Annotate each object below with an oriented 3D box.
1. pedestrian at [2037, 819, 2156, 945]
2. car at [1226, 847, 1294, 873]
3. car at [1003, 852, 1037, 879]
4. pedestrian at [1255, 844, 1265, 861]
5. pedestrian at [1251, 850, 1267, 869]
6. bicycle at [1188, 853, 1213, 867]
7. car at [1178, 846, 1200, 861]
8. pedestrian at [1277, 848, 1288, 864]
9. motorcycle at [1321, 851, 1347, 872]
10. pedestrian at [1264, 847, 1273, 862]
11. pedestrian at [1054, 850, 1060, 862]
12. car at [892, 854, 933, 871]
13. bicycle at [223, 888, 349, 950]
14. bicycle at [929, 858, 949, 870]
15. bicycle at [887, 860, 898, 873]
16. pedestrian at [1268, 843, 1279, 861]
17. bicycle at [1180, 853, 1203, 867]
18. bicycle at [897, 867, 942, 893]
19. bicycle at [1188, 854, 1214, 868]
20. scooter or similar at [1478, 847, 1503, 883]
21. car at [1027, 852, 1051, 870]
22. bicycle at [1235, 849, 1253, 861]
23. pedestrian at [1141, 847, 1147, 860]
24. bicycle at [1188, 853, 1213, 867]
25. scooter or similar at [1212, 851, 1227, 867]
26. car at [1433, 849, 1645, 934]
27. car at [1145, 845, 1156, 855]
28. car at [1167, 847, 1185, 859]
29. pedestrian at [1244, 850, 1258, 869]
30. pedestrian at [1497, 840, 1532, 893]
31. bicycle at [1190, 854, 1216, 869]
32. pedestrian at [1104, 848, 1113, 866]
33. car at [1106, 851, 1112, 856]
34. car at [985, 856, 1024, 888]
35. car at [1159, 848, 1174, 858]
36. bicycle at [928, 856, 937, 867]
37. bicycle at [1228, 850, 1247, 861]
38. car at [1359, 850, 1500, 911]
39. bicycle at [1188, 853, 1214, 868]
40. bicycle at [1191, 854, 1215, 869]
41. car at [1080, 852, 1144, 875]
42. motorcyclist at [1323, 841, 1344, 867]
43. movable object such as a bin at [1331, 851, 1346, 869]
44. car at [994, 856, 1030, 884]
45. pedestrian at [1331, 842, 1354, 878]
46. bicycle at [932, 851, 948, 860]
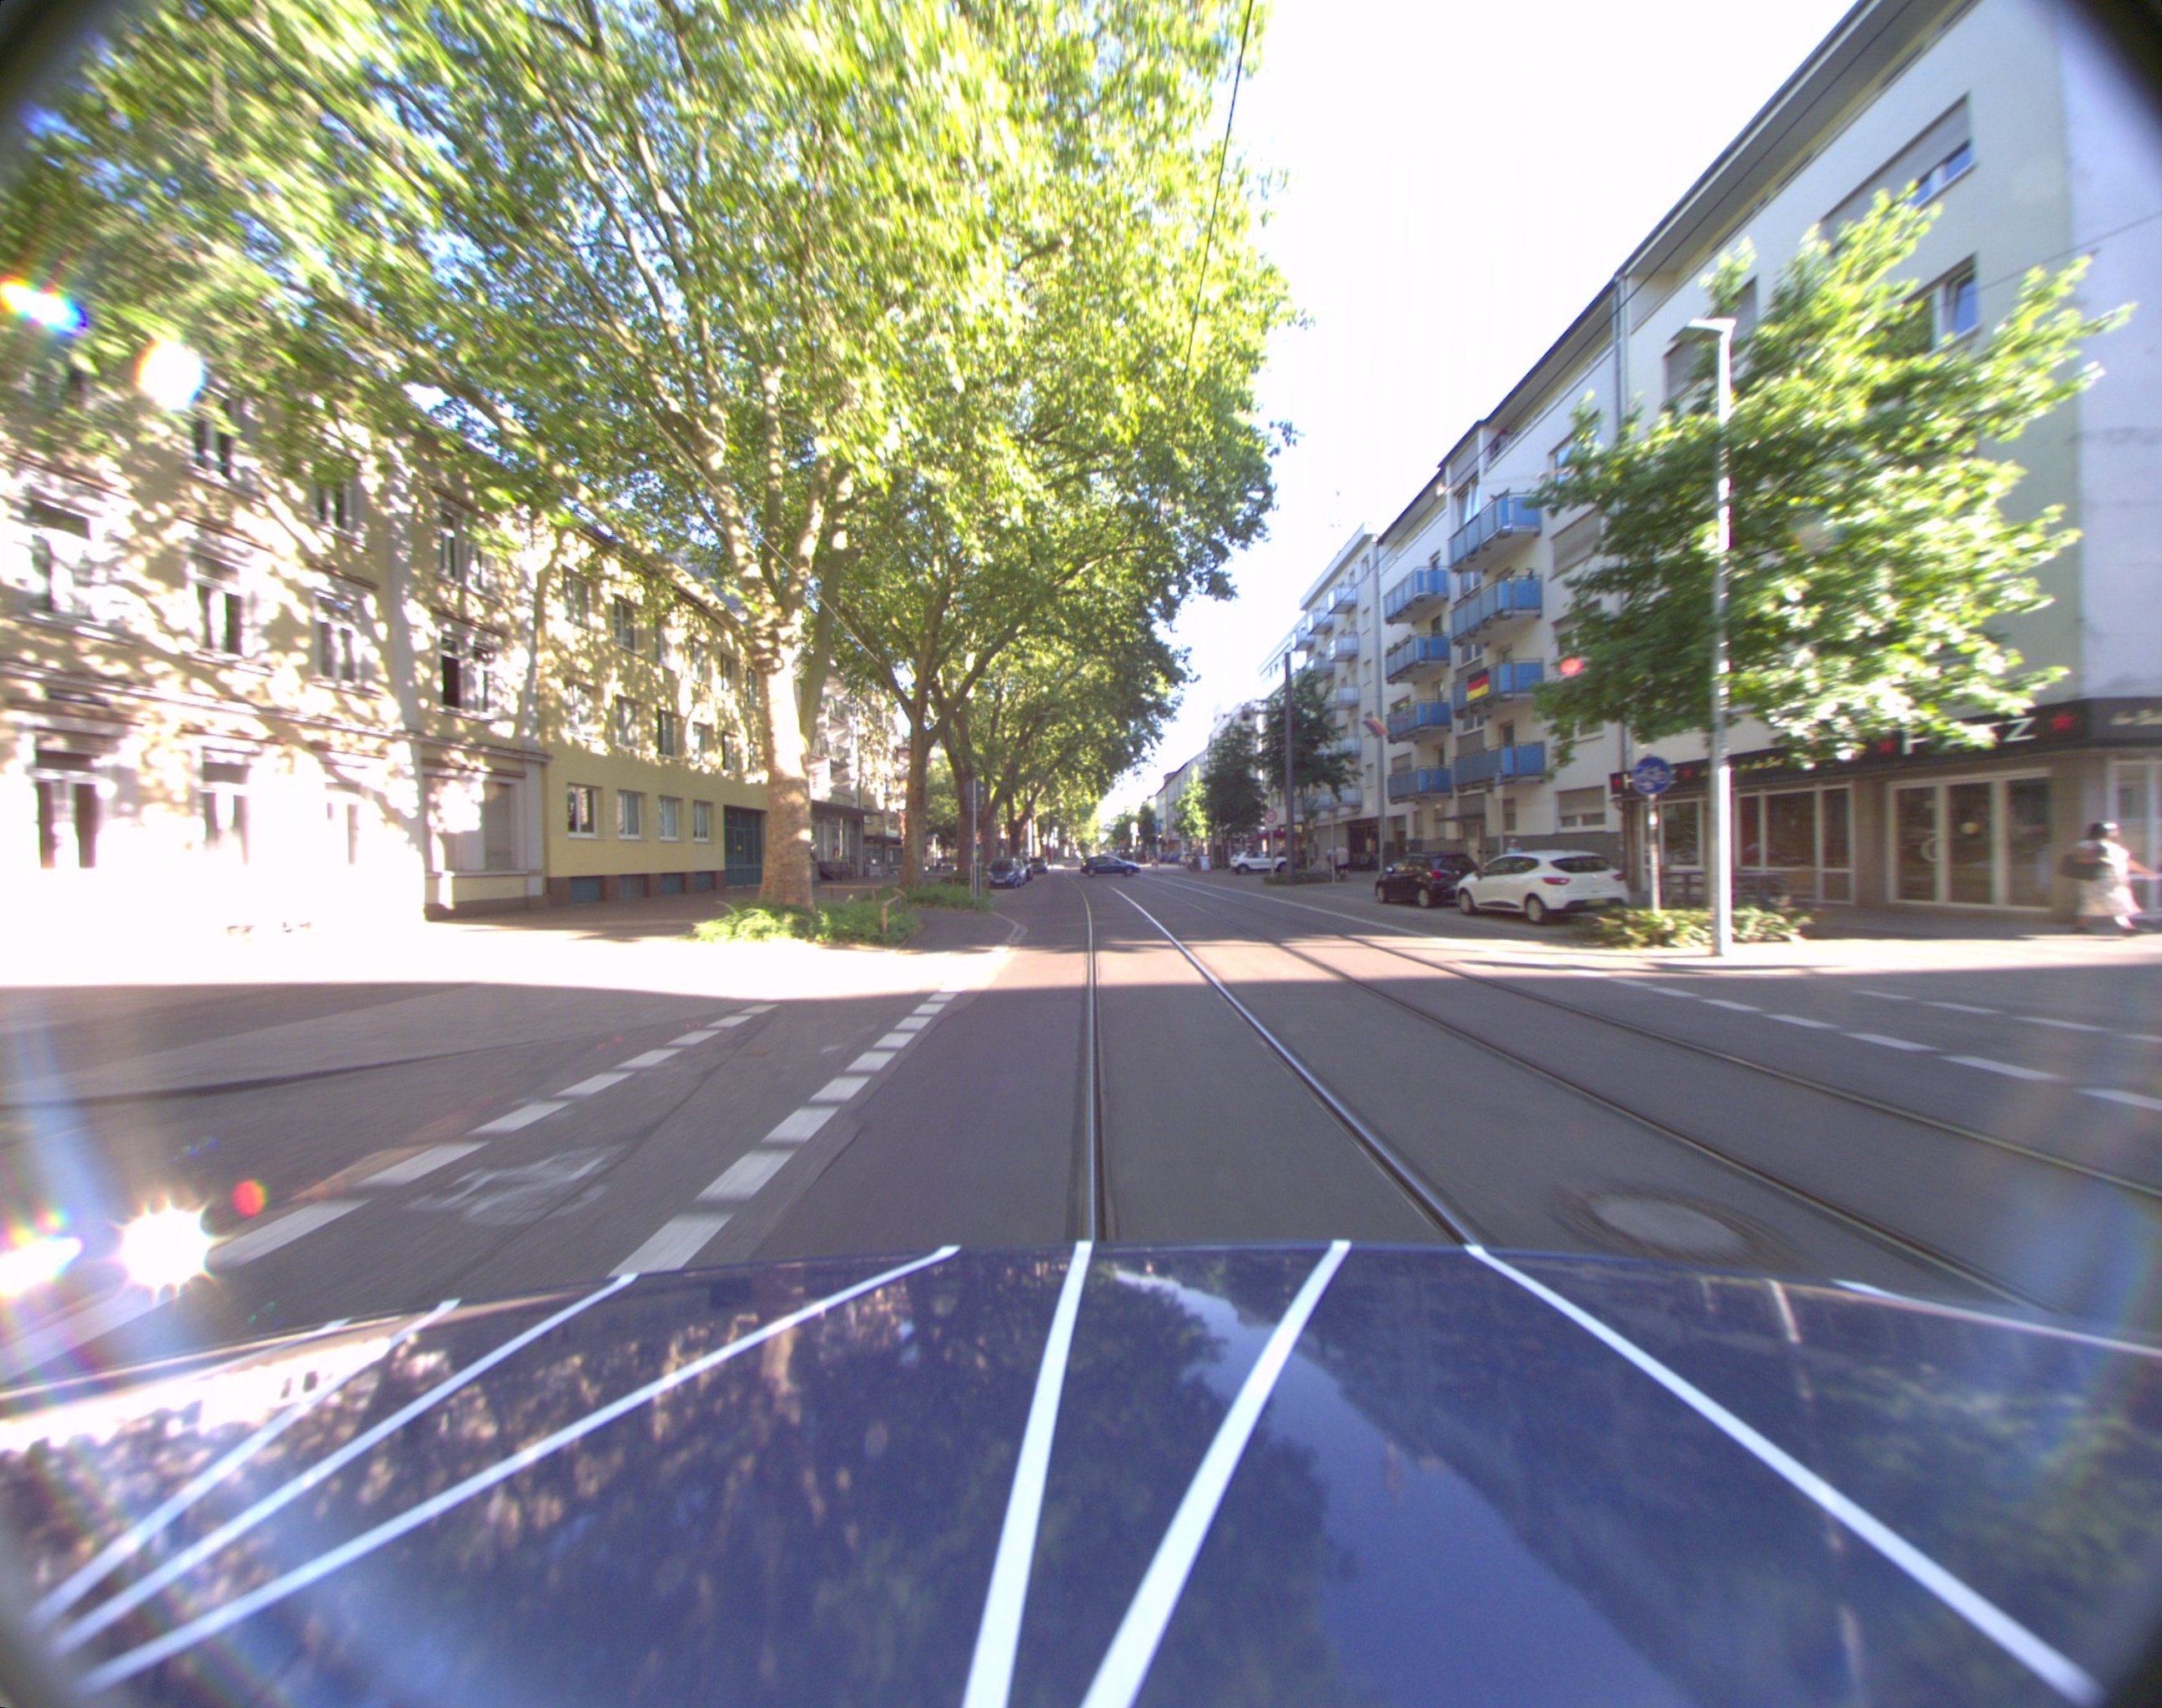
[{"bbox_3d":[14.190,0.374,10.634,0.665,1.681,0.748,-2,1,-1],"label":"pedestrian"},{"bbox_3d":[11.567,0.355,49.328,4.022,1.467,1.852,-2,1,3],"label":"car"},{"bbox_3d":[-3.875,0.708,48.817,1.862,1.594,4.780,0,1,-1],"label":"car"},{"bbox_3d":[16.644,-0.105,70.689,0.727,1.547,0.768,-1,1,-5],"label":"pedestrian"},{"bbox_3d":[12.054,0.375,51.453,0.714,1.290,0.911,-1,1,-13],"label":"pedestrian"},{"bbox_3d":[9.493,0.488,60.327,1.834,1.001,0.657,-2,1,-4],"label":"bicycle"},{"bbox_3d":[12.766,-0.074,89.893,1.883,1.641,4.357,-3,0,0],"label":"car"},{"bbox_3d":[15.868,0.152,59.841,0.514,1.191,0.562,-1,1,-28],"label":"pedestrian"},{"bbox_3d":[14.122,0.407,42.447,0.851,1.157,1.915,-1,1,2],"label":"motorcycle"},{"bbox_3d":[15.817,0.046,63.935,0.513,1.191,0.563,-1,1,-15],"label":"pedestrian"},{"bbox_3d":[-3.325,0.248,105.153,0.768,1.650,0.917,-1,1,2],"label":"pedestrian"},{"bbox_3d":[-17.805,0.857,80.237,3.871,1.683,1.866,-1,1,1],"label":"car"},{"bbox_3d":[-16.378,1.306,15.728,0.584,1.098,1.922,0,1,0],"label":"bicycle"},{"bbox_3d":[-13.560,0.951,72.417,1.799,1.150,0.744,0,1,-21],"label":"bicycle"},{"bbox_3d":[-14.852,0.961,59.850,0.572,0.991,1.779,0,1,-4],"label":"bicycle"},{"bbox_3d":[17.359,-0.195,68.541,0.768,1.650,0.749,-1,1,-6],"label":"pedestrian"},{"bbox_3d":[8.962,0.488,61.818,1.696,1.001,0.657,-2,1,-4],"label":"bicycle"},{"bbox_3d":[-6.883,1.108,32.415,1.964,1.000,0.512,2,2,27],"label":"bicycle"},{"bbox_3d":[9.355,0.510,59.242,1.834,1.001,0.657,-2,1,-4],"label":"bicycle"},{"bbox_3d":[15.150,0.399,28.117,0.376,1.282,1.237,1,1,8],"label":"scooter or similar"},{"bbox_3d":[-3.557,0.553,65.374,1.769,1.454,5.011,-1,0,-1],"label":"car"},{"bbox_3d":[17.273,0.115,80.415,1.785,1.150,0.573,-1,1,32],"label":"bicycle"},{"bbox_3d":[7.343,-0.064,88.311,0.655,1.576,0.772,-1,1,1],"label":"pedestrian"},{"bbox_3d":[9.396,0.498,59.887,1.834,1.001,0.657,-2,1,-4],"label":"bicycle"},{"bbox_3d":[10.893,0.397,59.879,1.082,1.169,0.498,-3,1,-1],"label":"scooter or similar"},{"bbox_3d":[9.667,0.693,16.521,1.718,1.455,4.375,-5,1,-3],"label":"car"},{"bbox_3d":[13.427,-0.754,146.865,1.808,1.923,4.049,-1,0,-1],"label":"car"},{"bbox_3d":[12.763,-0.140,101.998,1.961,1.535,4.388,0,0,1],"label":"car"},{"bbox_3d":[11.800,0.367,52.697,0.714,1.290,0.746,-1,1,-13],"label":"pedestrian"},{"bbox_3d":[13.983,0.387,24.508,0.665,1.681,0.748,-2,1,-1],"label":"pedestrian"},{"bbox_3d":[9.346,0.569,58.111,1.834,1.001,0.657,-2,1,-4],"label":"bicycle"},{"bbox_3d":[2.576,0.307,71.451,0.759,1.661,0.768,-1,1,-5],"label":"pedestrian"},{"bbox_3d":[9.329,-0.318,252.795,1.766,1.579,3.999,-1,0,0],"label":"car"},{"bbox_3d":[-3.865,0.865,38.677,1.567,1.510,2.910,0,1,3],"label":"car"},{"bbox_3d":[12.727,-0.185,113.228,1.799,1.455,4.282,0,0,1],"label":"car"},{"bbox_3d":[-16.623,0.827,85.075,0.601,1.150,1.698,0,1,4],"label":"bicycle"},{"bbox_3d":[16.858,0.119,81.915,2.040,1.150,0.571,-1,1,-21],"label":"bicycle"},{"bbox_3d":[9.534,0.660,21.181,1.718,1.455,3.997,-3,1,-6],"label":"car"},{"bbox_3d":[9.288,0.517,58.923,1.834,1.058,0.657,-2,1,-4],"label":"bicycle"},{"bbox_3d":[9.105,0.556,56.761,1.696,1.001,0.657,-2,1,-4],"label":"bicycle"},{"bbox_3d":[2.156,0.627,53.590,4.224,1.429,1.869,-2,1,-5],"label":"car"},{"bbox_3d":[14.102,0.006,42.494,0.875,1.432,1.016,-1,1,2],"label":"motorcyclist"},{"bbox_3d":[15.229,0.332,44.876,0.679,1.049,0.622,-1,1,2],"label":"movable object such as a bin"},{"bbox_3d":[-3.891,0.869,43.366,1.822,1.427,4.601,0,1,-3],"label":"car"},{"bbox_3d":[12.297,0.273,35.730,0.765,1.681,0.794,-2,1,-1],"label":"pedestrian"},{"bbox_3d":[-17.752,0.200,95.966,1.930,1.150,0.573,1,1,16],"label":"bicycle"}]
